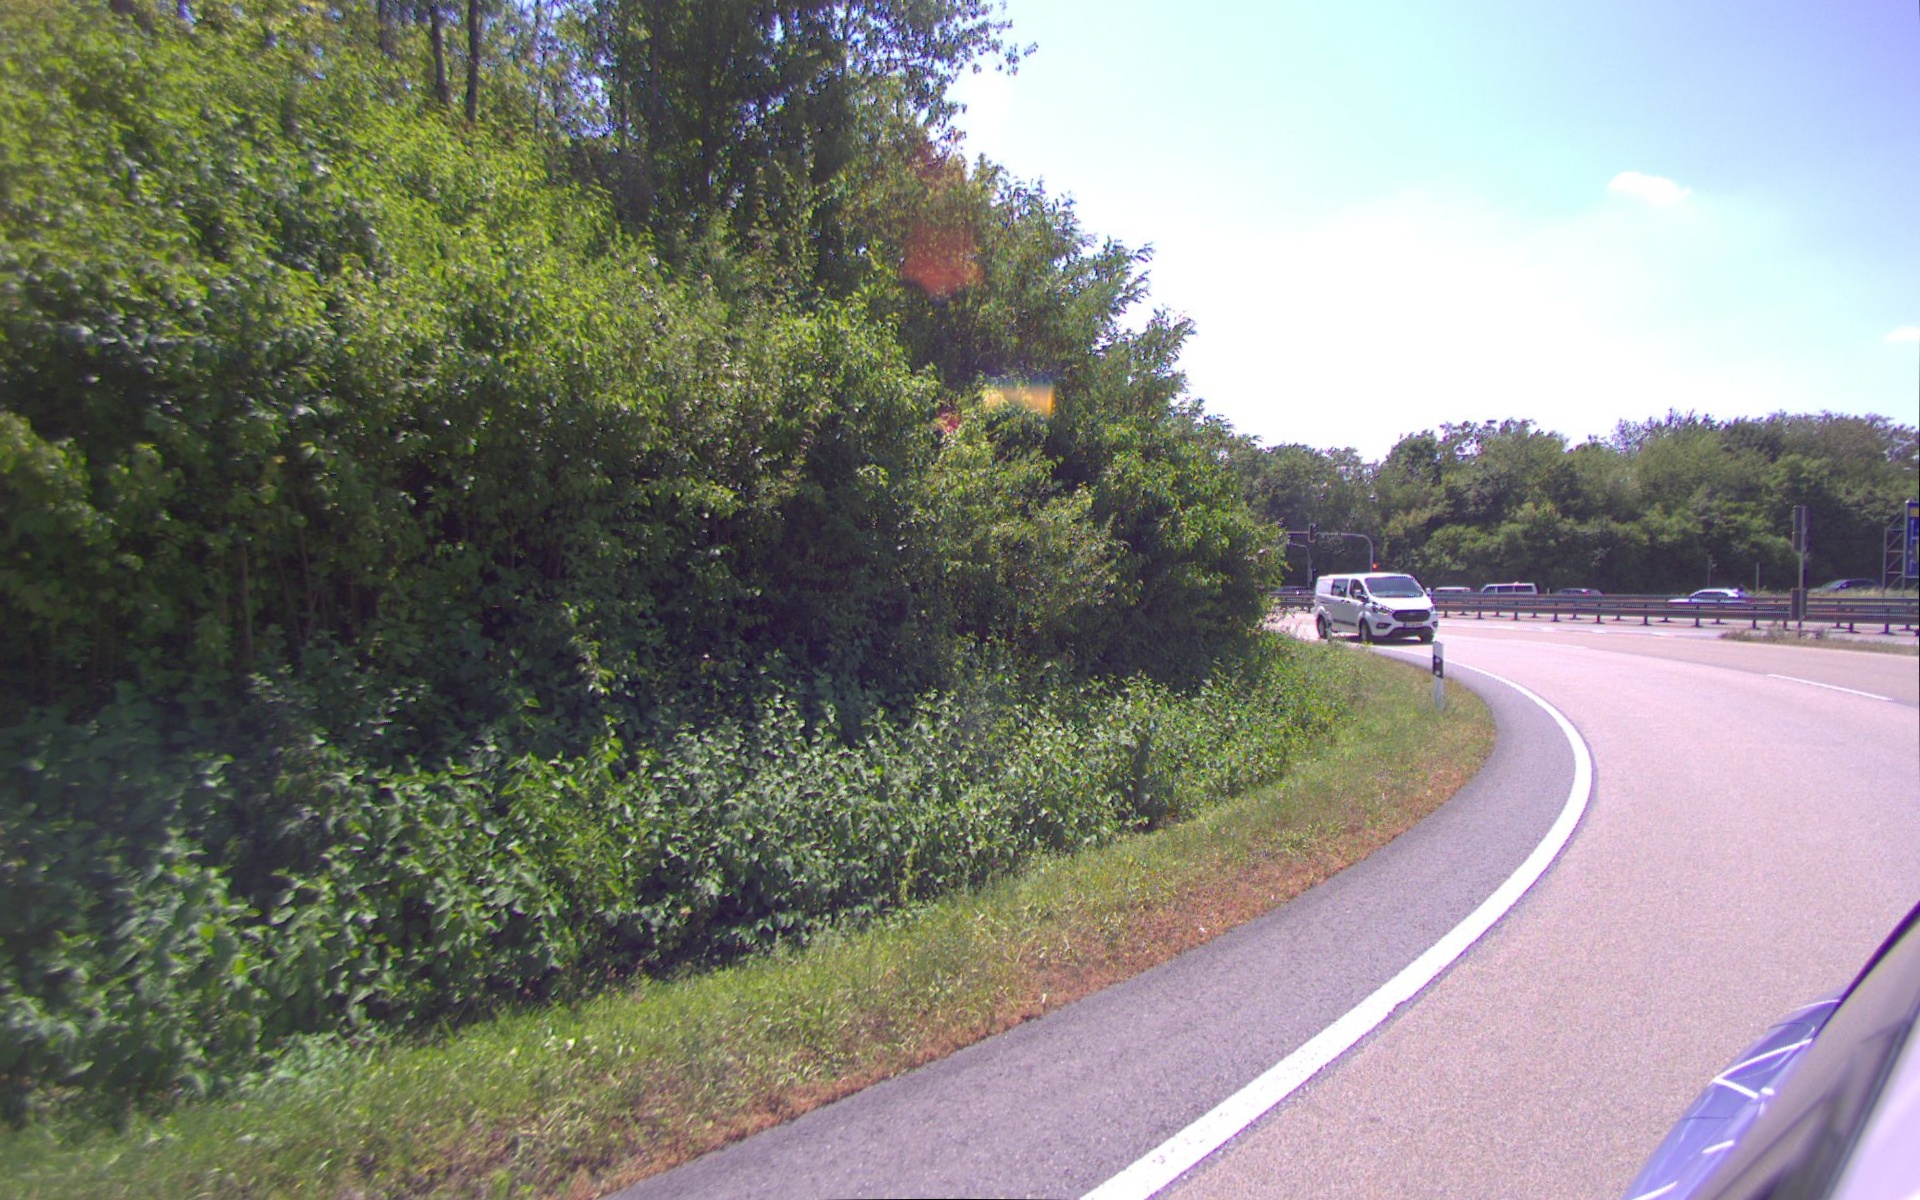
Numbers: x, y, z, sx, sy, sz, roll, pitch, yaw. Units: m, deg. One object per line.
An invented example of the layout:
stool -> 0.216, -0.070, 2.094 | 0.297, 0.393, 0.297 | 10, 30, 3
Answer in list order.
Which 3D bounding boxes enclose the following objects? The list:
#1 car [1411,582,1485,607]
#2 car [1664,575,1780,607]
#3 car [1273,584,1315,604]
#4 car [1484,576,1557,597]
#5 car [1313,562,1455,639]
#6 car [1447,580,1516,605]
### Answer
car -> 28.302, -0.341, 58.814 | 1.487, 1.364, 3.930 | -1, 1, -20
car -> 39.079, -0.460, 52.050 | 1.668, 1.503, 4.544 | -1, 1, -21
car -> 21.925, -0.418, 66.559 | 1.133, 1.252, 2.733 | -1, 1, -20
car -> 44.612, -1.050, 80.675 | 5.066, 1.661, 1.998 | 0, 0, 29
car -> 12.503, 0.010, 30.280 | 2.025, 2.039, 5.041 | -2, 0, 0
car -> 31.850, -0.455, 61.950 | 1.619, 1.411, 3.578 | -1, 1, -20
